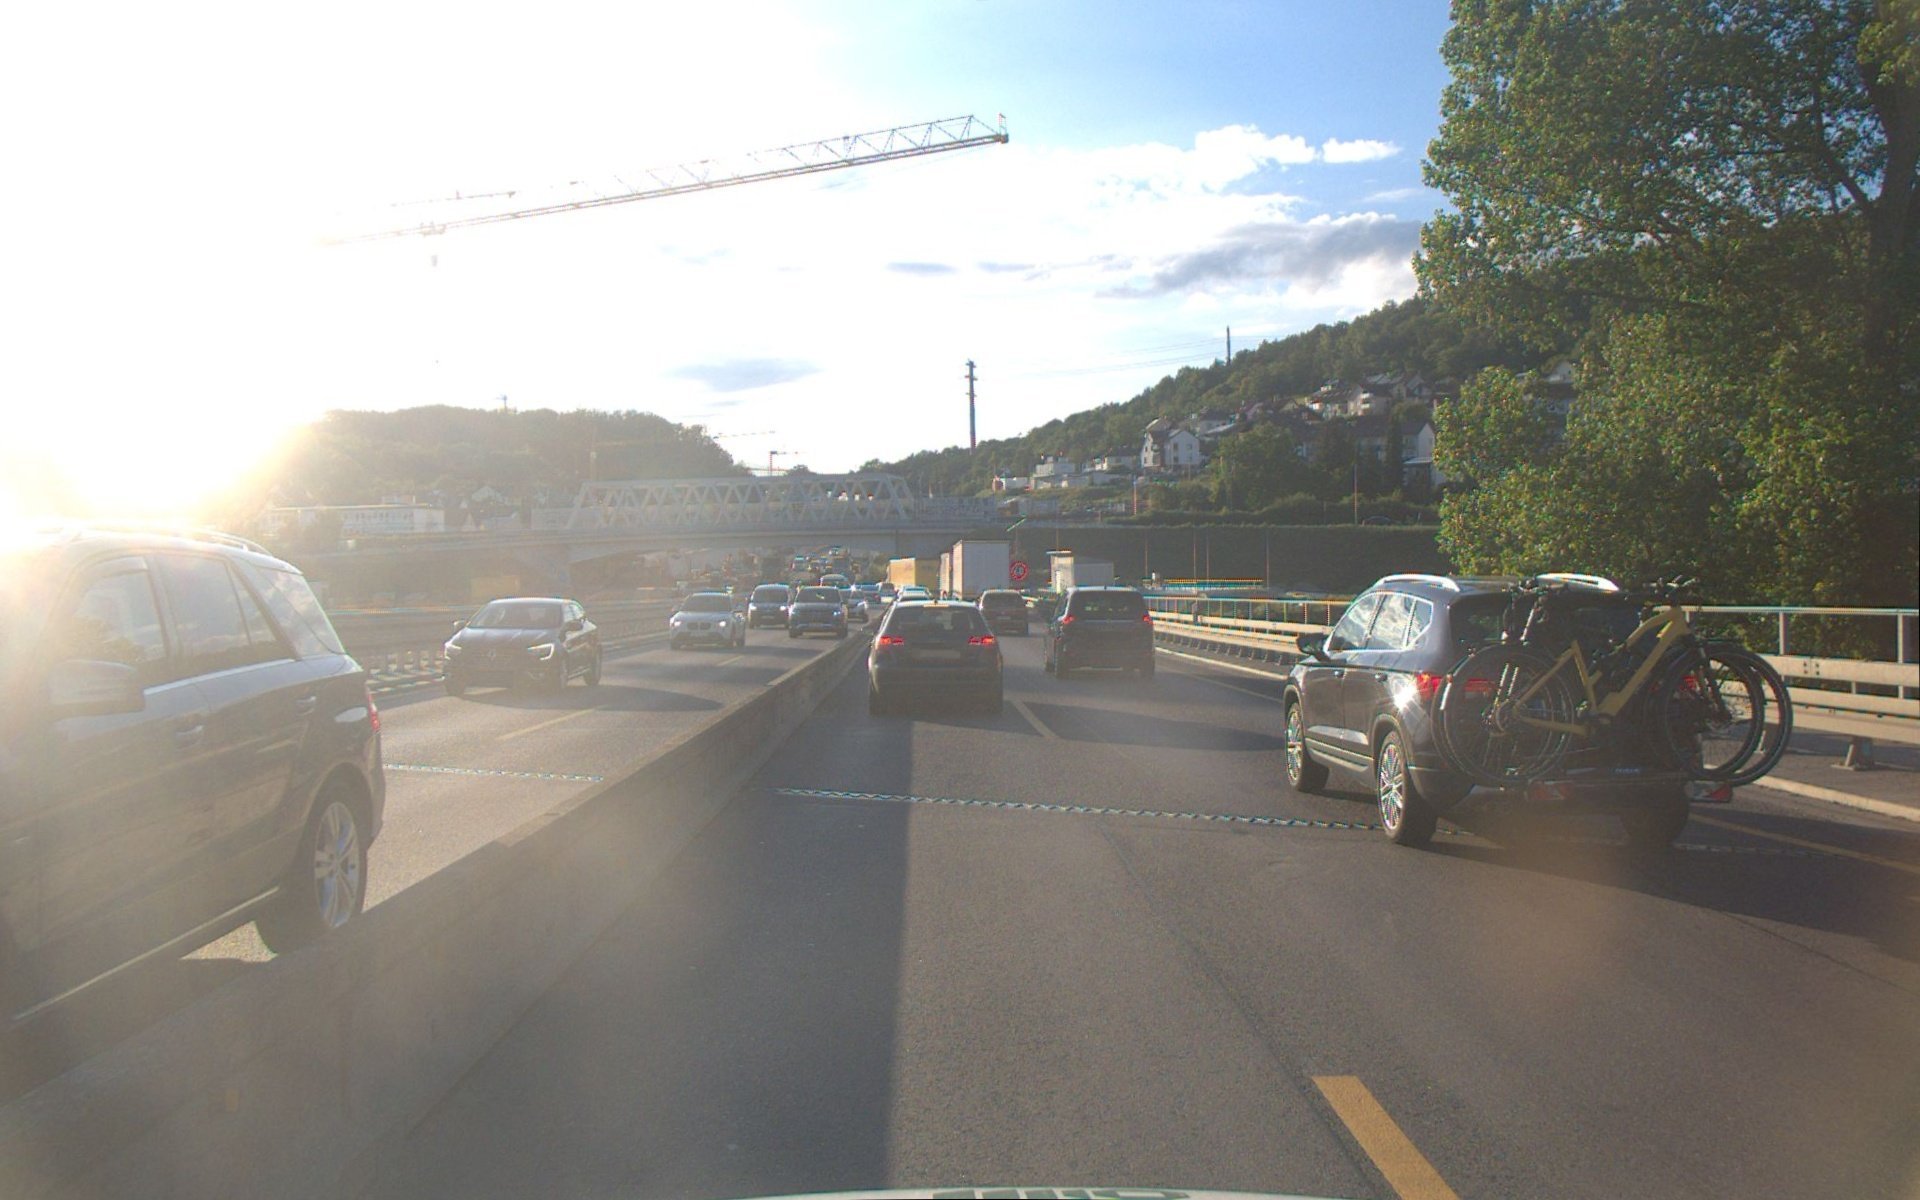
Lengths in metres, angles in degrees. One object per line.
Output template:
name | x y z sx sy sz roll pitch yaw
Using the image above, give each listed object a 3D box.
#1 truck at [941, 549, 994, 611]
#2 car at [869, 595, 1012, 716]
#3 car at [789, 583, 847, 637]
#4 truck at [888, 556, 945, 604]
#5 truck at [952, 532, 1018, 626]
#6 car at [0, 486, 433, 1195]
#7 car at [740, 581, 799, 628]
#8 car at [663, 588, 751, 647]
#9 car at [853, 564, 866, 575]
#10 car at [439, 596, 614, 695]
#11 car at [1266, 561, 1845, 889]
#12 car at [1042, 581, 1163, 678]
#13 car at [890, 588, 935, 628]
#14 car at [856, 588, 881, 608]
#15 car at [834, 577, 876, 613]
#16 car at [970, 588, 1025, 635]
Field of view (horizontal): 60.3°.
truck | 0.486 -1.706 130.703 3.811 4.576 15.266 0 2 -1
car | -0.328 0.665 22.052 1.734 1.414 3.998 0 1 -3
car | -4.934 0.317 57.992 1.890 1.784 4.670 0 1 -3
truck | -4.527 -2.133 168.186 3.820 4.576 13.818 0 2 -10
truck | 1.232 -1.388 91.066 3.316 4.575 15.271 0 3 0
car | -3.439 0.596 5.538 1.953 1.789 4.659 0 1 -2
car | -8.072 0.154 70.428 1.953 1.888 4.282 2 1 0
car | -7.117 0.453 46.943 1.890 1.573 4.288 0 1 -1
car | -14.010 -4.257 230.559 1.757 1.566 4.364 -1 1 -4
car | -6.854 0.666 26.592 1.739 1.429 4.308 0 1 -1
car | 3.478 0.597 10.837 1.838 1.627 4.964 -1 1 -2
car | 2.611 0.491 31.148 1.778 1.660 4.410 0 1 -2
car | -1.961 0.305 67.130 1.730 1.512 3.998 1 1 -3
car | -7.665 -0.184 137.795 1.954 1.556 5.777 0 1 -4
car | -5.172 -0.258 82.052 1.801 1.668 4.000 -2 1 0
car | 1.331 0.384 60.222 1.734 1.579 3.998 1 1 -3
